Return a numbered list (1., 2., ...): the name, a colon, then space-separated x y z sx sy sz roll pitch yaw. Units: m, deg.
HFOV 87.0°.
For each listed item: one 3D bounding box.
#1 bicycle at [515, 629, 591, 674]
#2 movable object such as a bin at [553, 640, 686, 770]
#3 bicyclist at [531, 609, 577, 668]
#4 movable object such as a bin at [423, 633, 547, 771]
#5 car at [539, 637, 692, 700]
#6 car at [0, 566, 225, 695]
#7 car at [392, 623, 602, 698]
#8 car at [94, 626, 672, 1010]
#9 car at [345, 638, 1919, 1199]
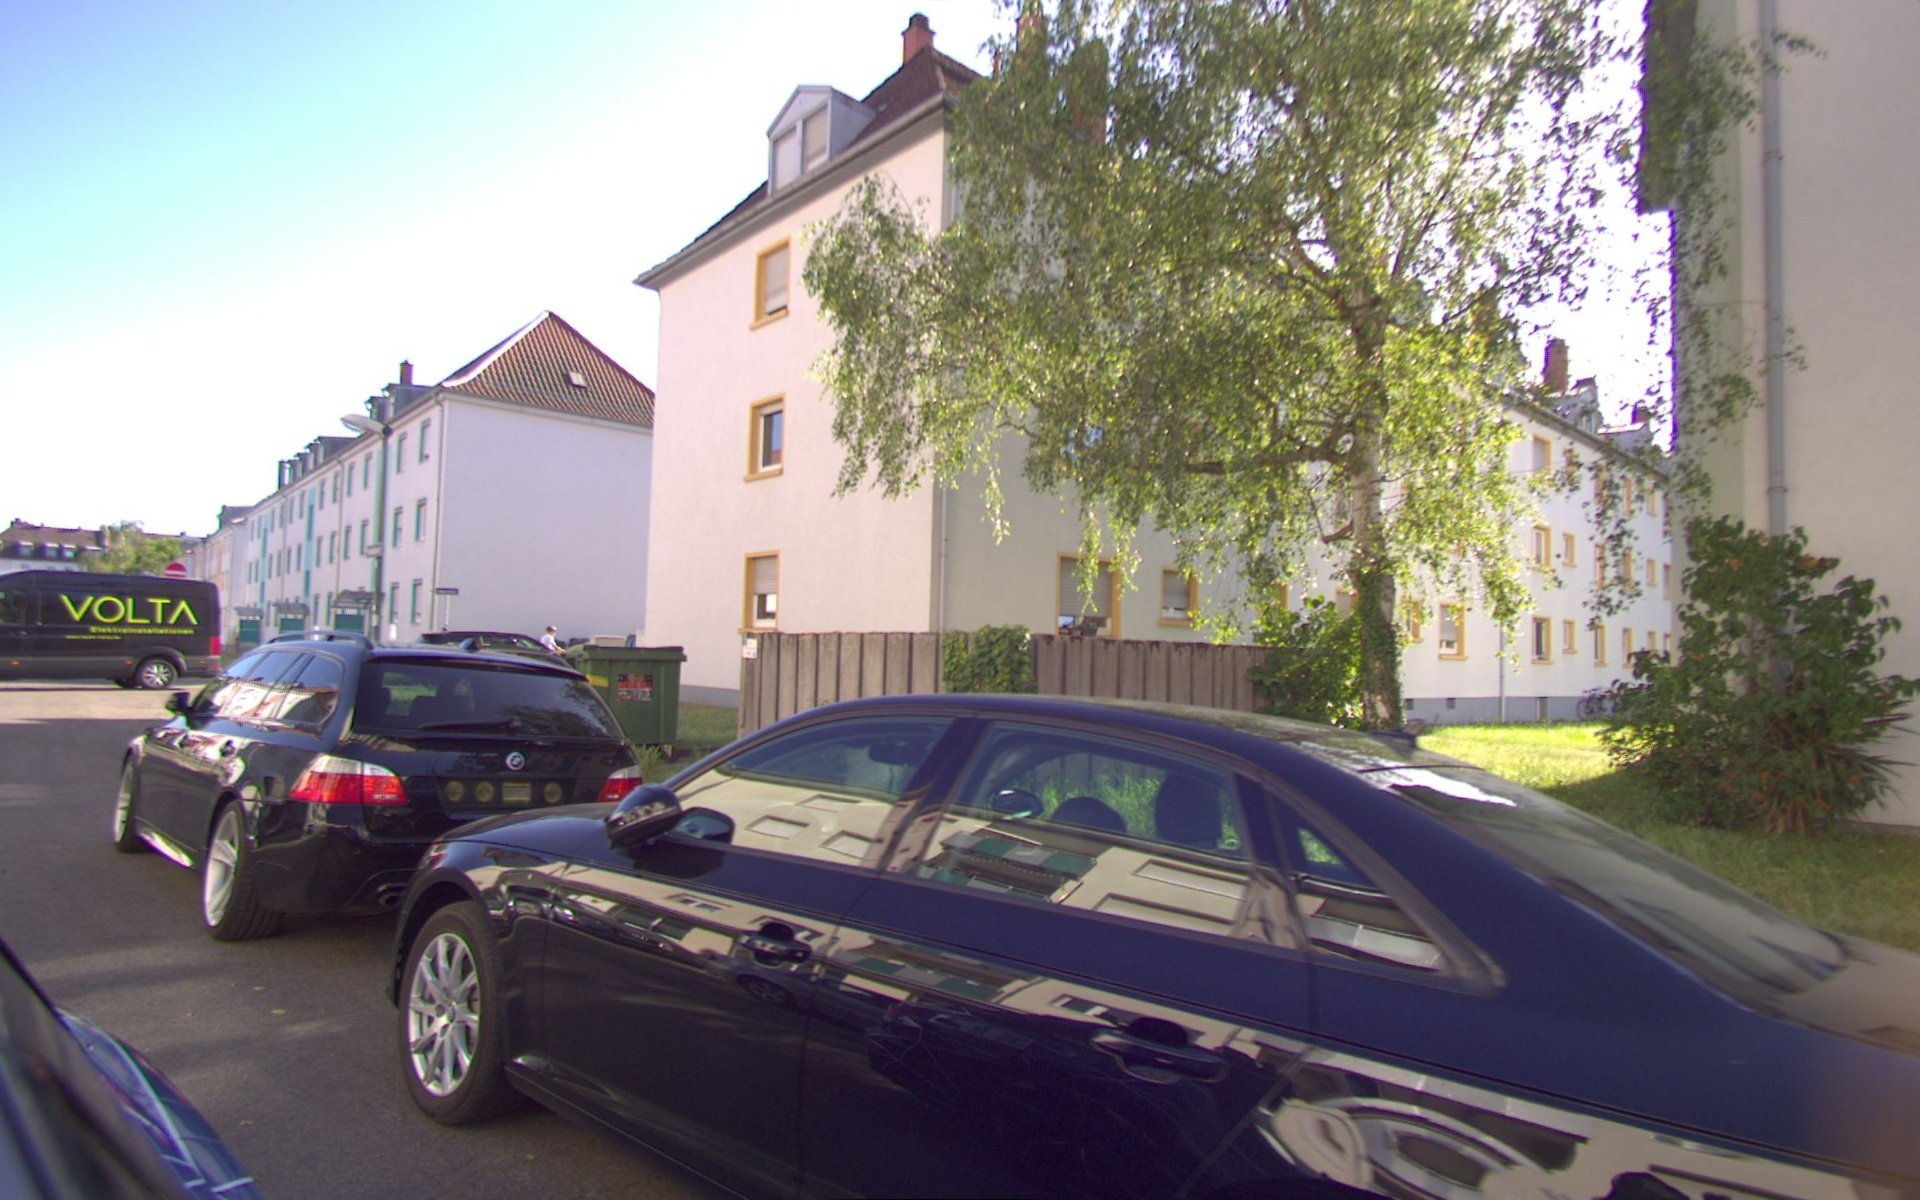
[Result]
1. bicycle: -11.366 1.454 28.284 0.629 1.123 1.790 0 -6 43
2. movable object such as a bin: -3.881 1.168 11.555 1.204 1.391 0.768 3 -4 -39
3. bicyclist: -11.356 1.073 28.326 0.598 1.591 0.894 -1 -6 42
4. movable object such as a bin: -5.270 1.087 11.196 0.766 1.403 1.418 5 -5 -43
5. car: -10.532 2.132 31.100 3.938 1.708 1.868 7 -6 -42
6. car: -19.507 0.673 21.480 1.997 2.564 5.885 -1 -4 37
7. car: -11.646 1.569 25.659 4.433 1.676 1.722 6 -4 -42
8. car: -3.755 0.966 6.120 4.621 1.464 1.659 -1 -7 44
9. car: 0.213 0.928 2.614 4.276 1.453 1.661 -1 -7 40
